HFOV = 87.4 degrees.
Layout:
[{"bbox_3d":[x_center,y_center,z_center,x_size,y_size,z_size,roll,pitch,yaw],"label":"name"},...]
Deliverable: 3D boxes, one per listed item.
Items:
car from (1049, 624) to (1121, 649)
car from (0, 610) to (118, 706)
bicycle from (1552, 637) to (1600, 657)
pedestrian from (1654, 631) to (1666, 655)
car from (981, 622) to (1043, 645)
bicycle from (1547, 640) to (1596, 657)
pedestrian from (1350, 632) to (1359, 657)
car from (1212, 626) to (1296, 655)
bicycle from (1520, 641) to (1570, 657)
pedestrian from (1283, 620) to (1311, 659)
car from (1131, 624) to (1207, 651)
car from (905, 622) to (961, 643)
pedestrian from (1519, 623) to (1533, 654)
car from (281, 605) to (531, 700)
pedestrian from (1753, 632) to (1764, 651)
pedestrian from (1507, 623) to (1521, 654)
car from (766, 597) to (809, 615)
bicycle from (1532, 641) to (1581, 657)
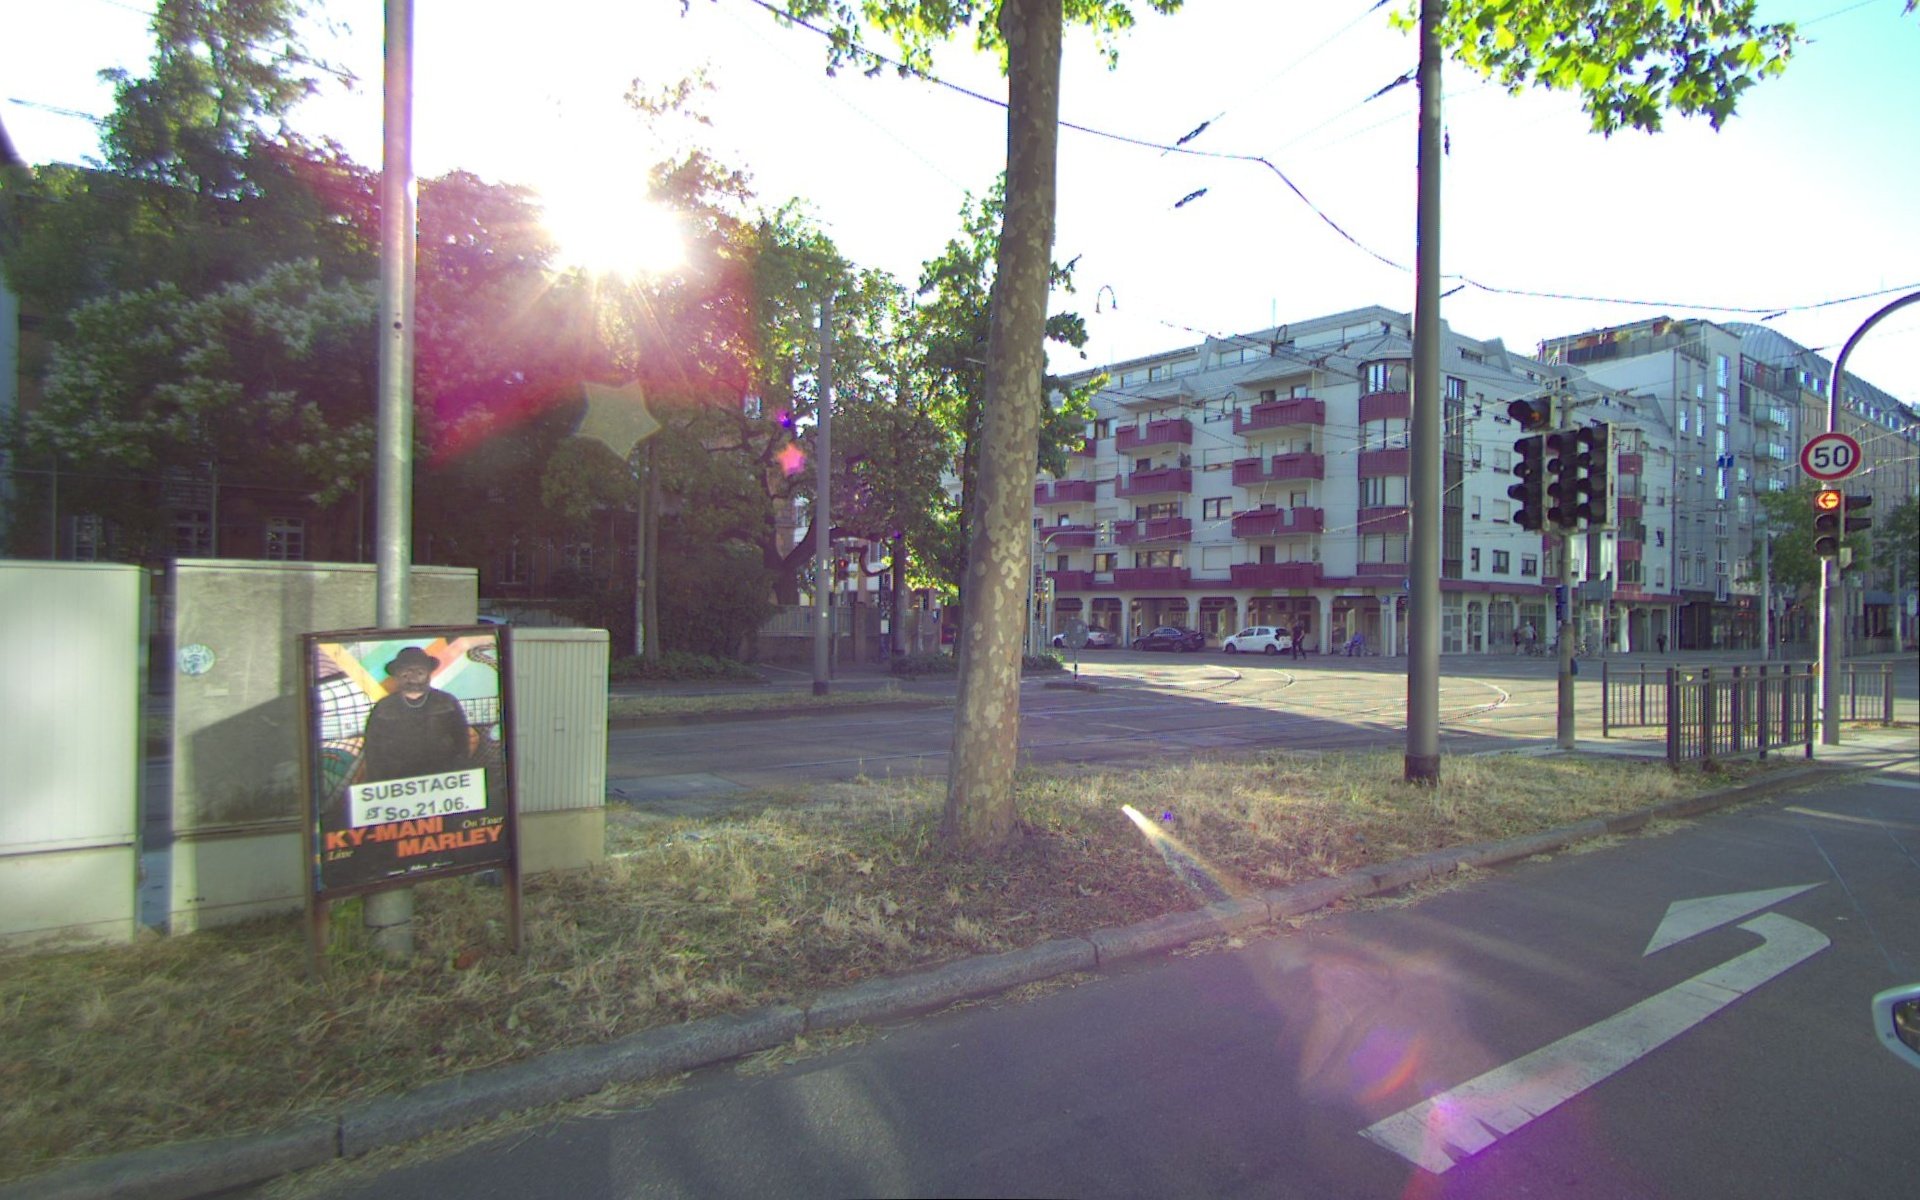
[{"bbox_3d":[7.673,2.251,61.695,1.790,1.483,4.215,2,-2,-45],"label":"car"},{"bbox_3d":[-16.416,0.903,15.904,4.608,1.495,1.979,1,-1,-38],"label":"car"},{"bbox_3d":[32.763,2.489,53.458,0.487,0.963,2.153,1,-2,-37],"label":"bicycle"},{"bbox_3d":[45.015,2.759,64.602,0.524,1.478,0.505,1,-1,-43],"label":"pedestrian"},{"bbox_3d":[3.442,2.246,66.690,1.790,1.483,3.947,2,-2,-45],"label":"car"},{"bbox_3d":[32.270,2.568,53.047,0.523,0.835,2.153,1,-2,-37],"label":"bicycle"},{"bbox_3d":[19.862,2.229,50.548,0.316,1.230,0.301,1,-2,-40],"label":"pedestrian"},{"bbox_3d":[15.653,2.119,53.506,3.945,1.483,1.791,-2,-2,44],"label":"car"},{"bbox_3d":[30.348,2.532,52.145,0.635,0.797,2.153,1,-2,-37],"label":"bicycle"},{"bbox_3d":[14.708,1.717,43.855,1.025,1.684,0.702,1,-2,-40],"label":"pedestrian"},{"bbox_3d":[11.882,2.147,57.243,3.944,1.483,1.791,-2,-2,43],"label":"car"},{"bbox_3d":[-1.970,2.316,72.472,1.790,1.483,3.947,2,-2,-45],"label":"car"},{"bbox_3d":[31.162,2.112,55.343,0.523,1.721,0.506,1,-1,-37],"label":"pedestrian"},{"bbox_3d":[-11.019,0.989,20.086,4.140,1.711,1.979,1,-1,-38],"label":"car"},{"bbox_3d":[60.559,3.147,76.179,0.523,1.478,0.506,1,-1,-37],"label":"pedestrian"},{"bbox_3d":[30.790,2.136,55.819,0.523,1.721,0.506,1,-1,-37],"label":"pedestrian"},{"bbox_3d":[-15.002,0.508,87.186,1.790,1.483,3.947,2,-2,-45],"label":"car"},{"bbox_3d":[31.063,2.550,52.345,0.487,0.797,2.153,1,-2,-37],"label":"bicycle"}]
